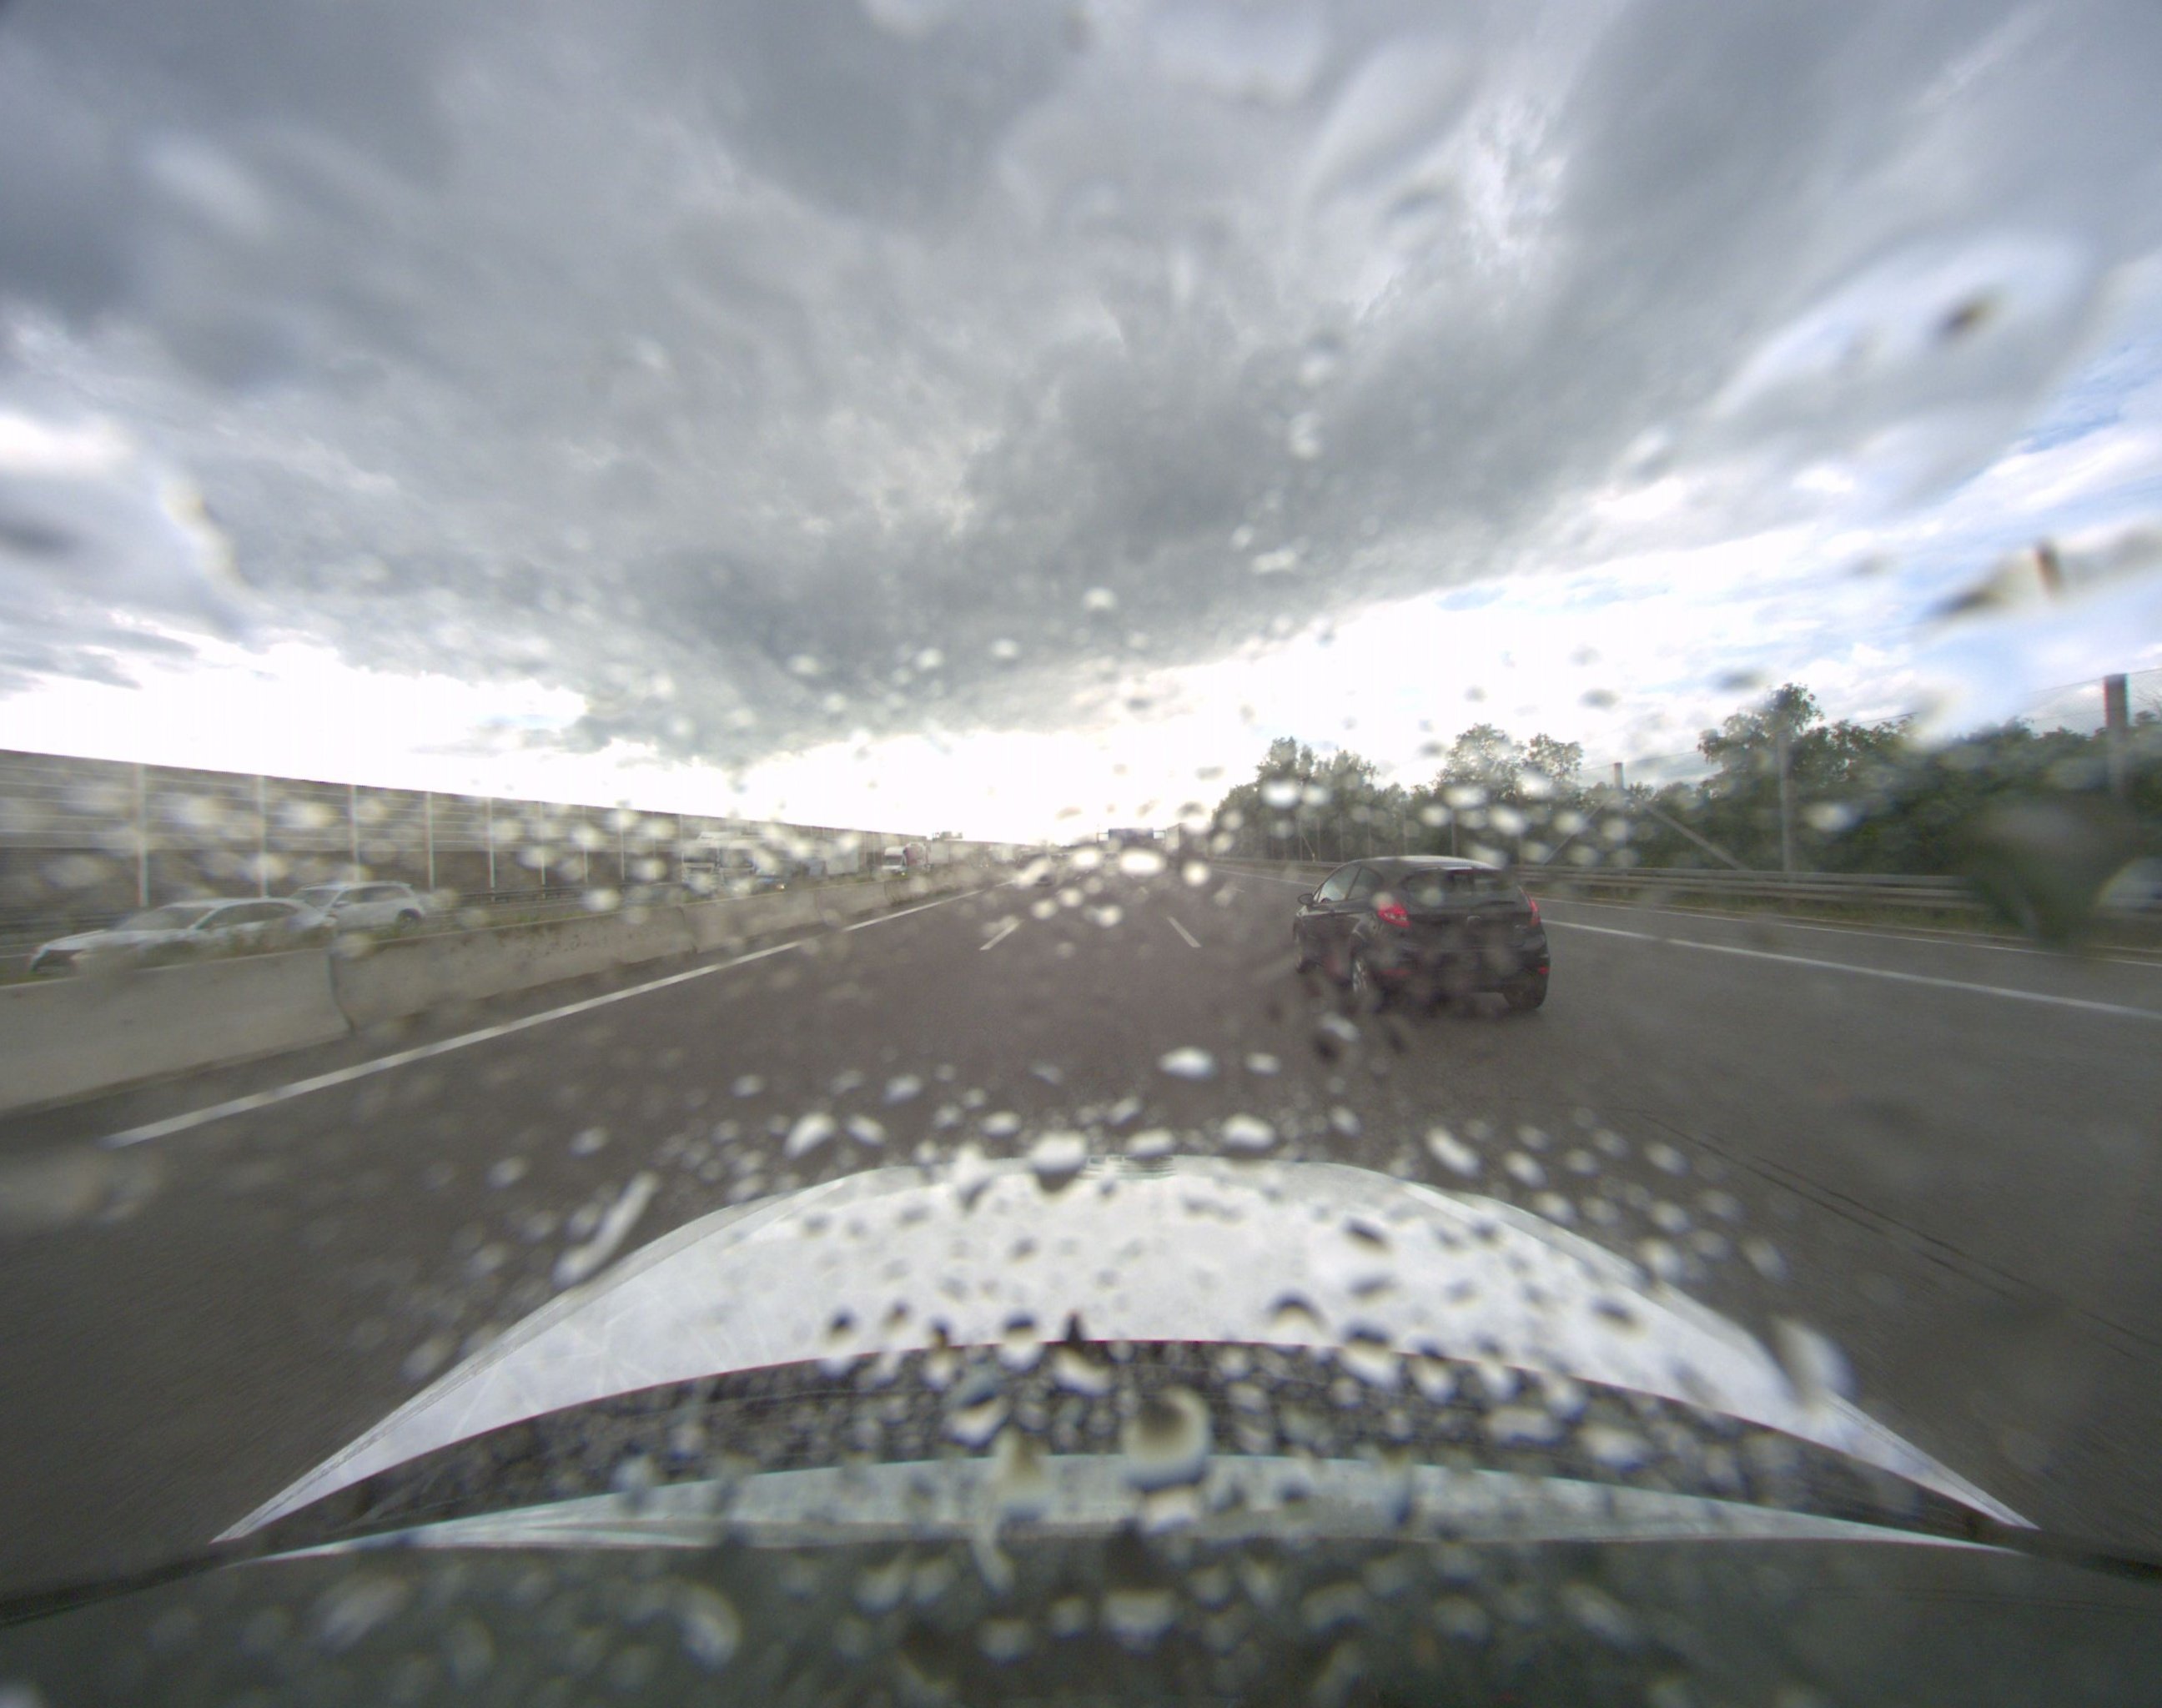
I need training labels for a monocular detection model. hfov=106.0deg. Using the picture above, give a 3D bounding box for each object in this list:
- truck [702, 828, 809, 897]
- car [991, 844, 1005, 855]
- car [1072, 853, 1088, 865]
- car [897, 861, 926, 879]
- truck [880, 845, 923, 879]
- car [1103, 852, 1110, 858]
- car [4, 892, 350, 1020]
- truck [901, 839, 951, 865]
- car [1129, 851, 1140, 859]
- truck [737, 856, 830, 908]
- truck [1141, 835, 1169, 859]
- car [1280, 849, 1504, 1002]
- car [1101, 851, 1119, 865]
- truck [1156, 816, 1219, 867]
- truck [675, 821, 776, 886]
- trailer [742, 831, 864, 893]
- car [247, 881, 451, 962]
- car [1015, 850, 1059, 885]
[{"bbox_3d":[-19.948,0.494,50.567,3.067,3.935,8.058,0,0,2],"label":"truck"},{"bbox_3d":[-15.601,-0.885,153.187,1.986,2.013,4.002,0,0,2],"label":"car"},{"bbox_3d":[-0.110,0.598,97.185,1.756,1.369,5.057,-1,0,-1],"label":"car"},{"bbox_3d":[-15.142,1.407,73.049,1.657,1.534,3.889,0,0,2],"label":"car"},{"bbox_3d":[-18.341,0.796,83.597,2.312,3.347,8.356,0,0,2],"label":"truck"},{"bbox_3d":[7.061,0.287,229.437,1.767,1.441,3.872,-1,0,-1],"label":"car"},{"bbox_3d":[-17.295,1.838,15.986,1.916,1.906,4.254,-2,0,2],"label":"car"},{"bbox_3d":[-21.153,-0.253,112.133,3.254,3.352,16.091,0,0,2],"label":"truck"},{"bbox_3d":[9.404,0.165,143.477,1.830,1.441,4.055,-1,0,0],"label":"car"},{"bbox_3d":[-13.770,1.203,38.130,1.986,2.211,5.927,0,0,2],"label":"truck"},{"bbox_3d":[13.450,-1.203,149.810,4.229,4.176,11.989,0,0,0],"label":"truck"},{"bbox_3d":[3.357,0.676,9.370,1.441,1.441,3.165,-1,0,2],"label":"car"},{"bbox_3d":[3.161,0.420,89.280,1.767,1.441,4.053,-1,0,-1],"label":"car"},{"bbox_3d":[9.462,-1.055,74.407,4.166,4.288,12.611,0,0,0],"label":"truck"},{"bbox_3d":[-23.948,-0.047,55.526,2.700,4.074,8.918,0,0,2],"label":"truck"},{"bbox_3d":[-19.578,0.487,58.895,3.067,3.935,14.991,0,0,2],"label":"trailer"},{"bbox_3d":[-20.837,1.838,23.477,1.916,1.906,4.254,-2,0,2],"label":"car"},{"bbox_3d":[-2.236,0.647,42.607,1.902,1.691,5.170,-1,0,1],"label":"car"}]
